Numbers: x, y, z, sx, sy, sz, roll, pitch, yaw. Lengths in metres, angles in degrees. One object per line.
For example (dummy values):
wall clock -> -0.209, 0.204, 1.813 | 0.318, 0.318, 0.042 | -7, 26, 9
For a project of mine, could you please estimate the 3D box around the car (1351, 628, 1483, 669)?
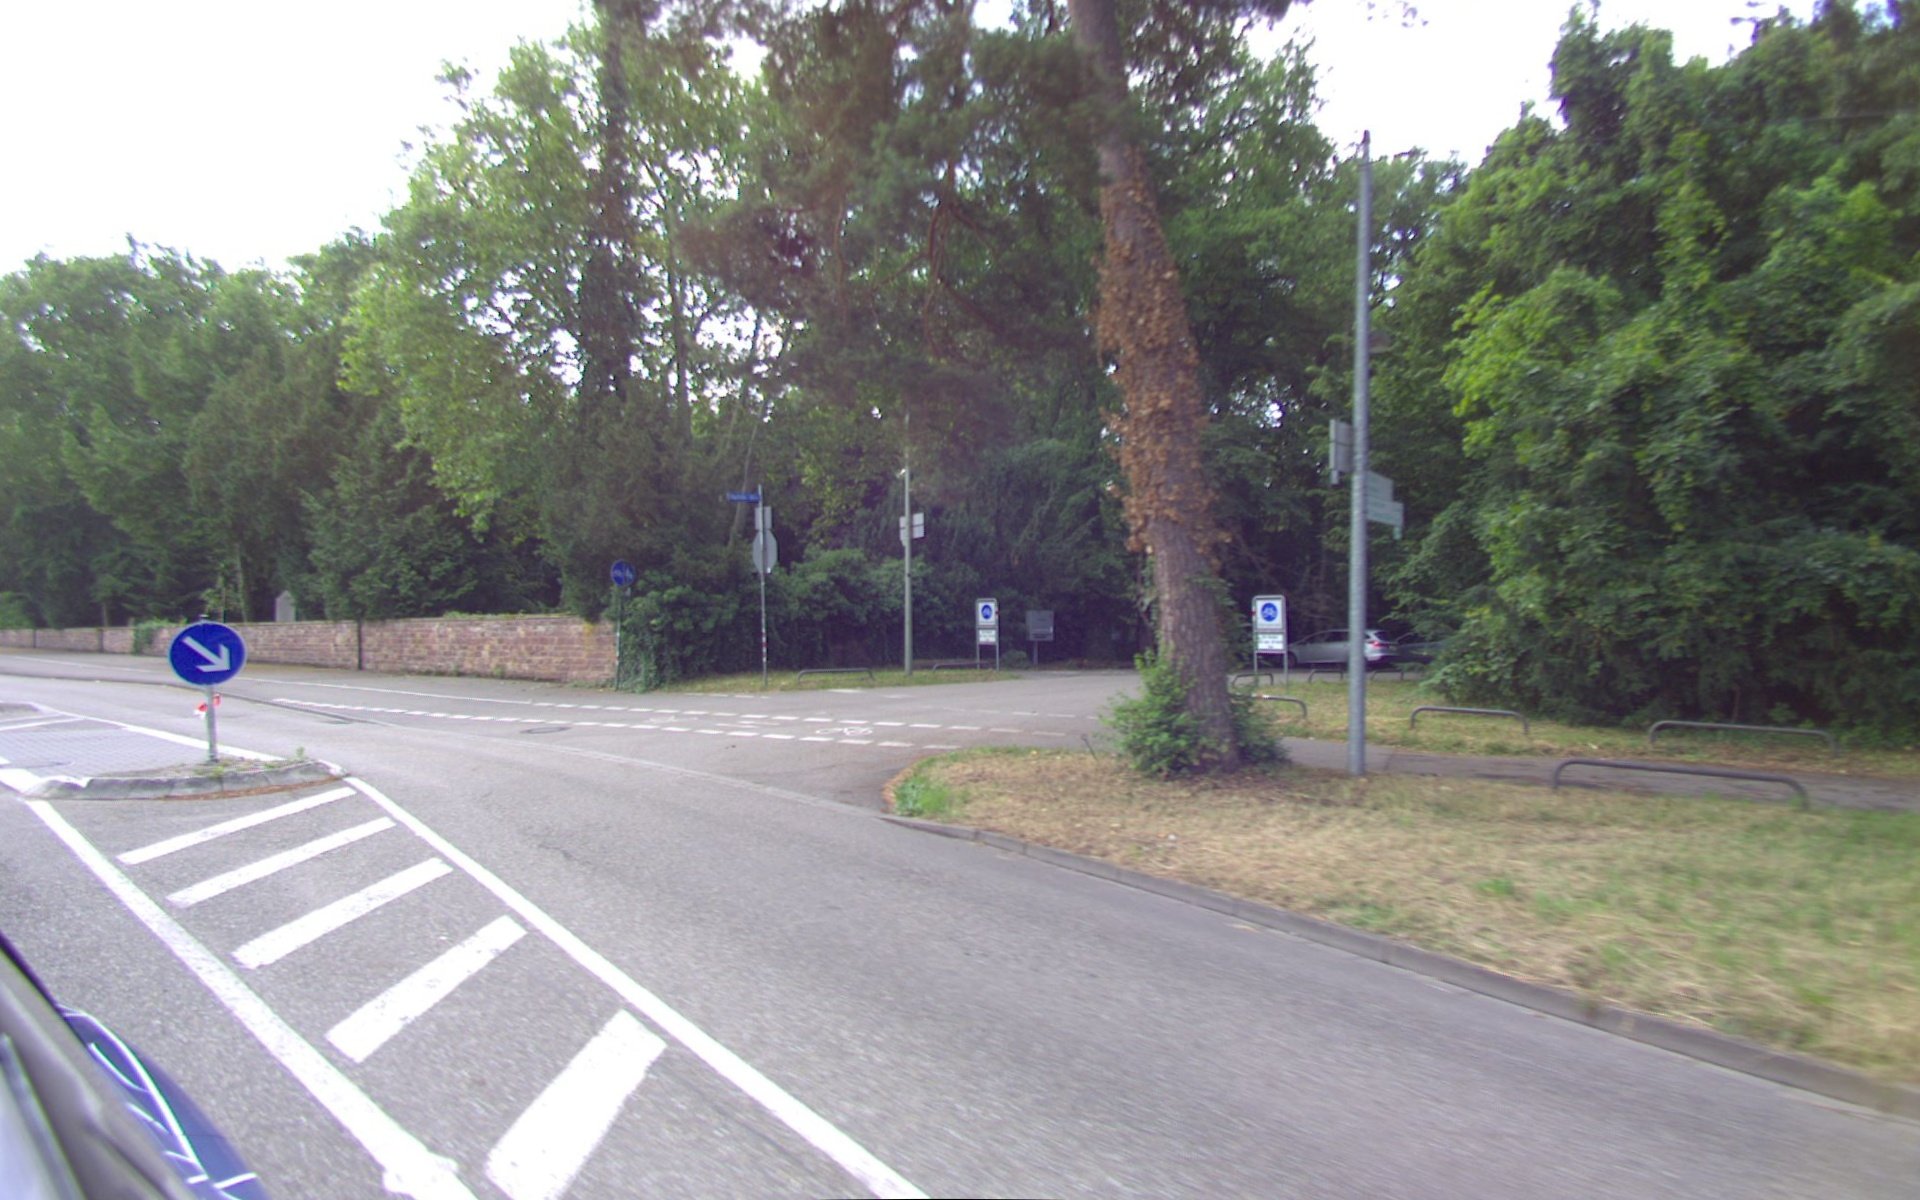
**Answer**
car -> 18.545, 1.957, 41.217 | 1.902, 1.553, 4.523 | 3, -3, -43

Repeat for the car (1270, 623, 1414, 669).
car -> 13.722, 1.633, 36.537 | 1.901, 1.553, 4.524 | 3, -3, -42
